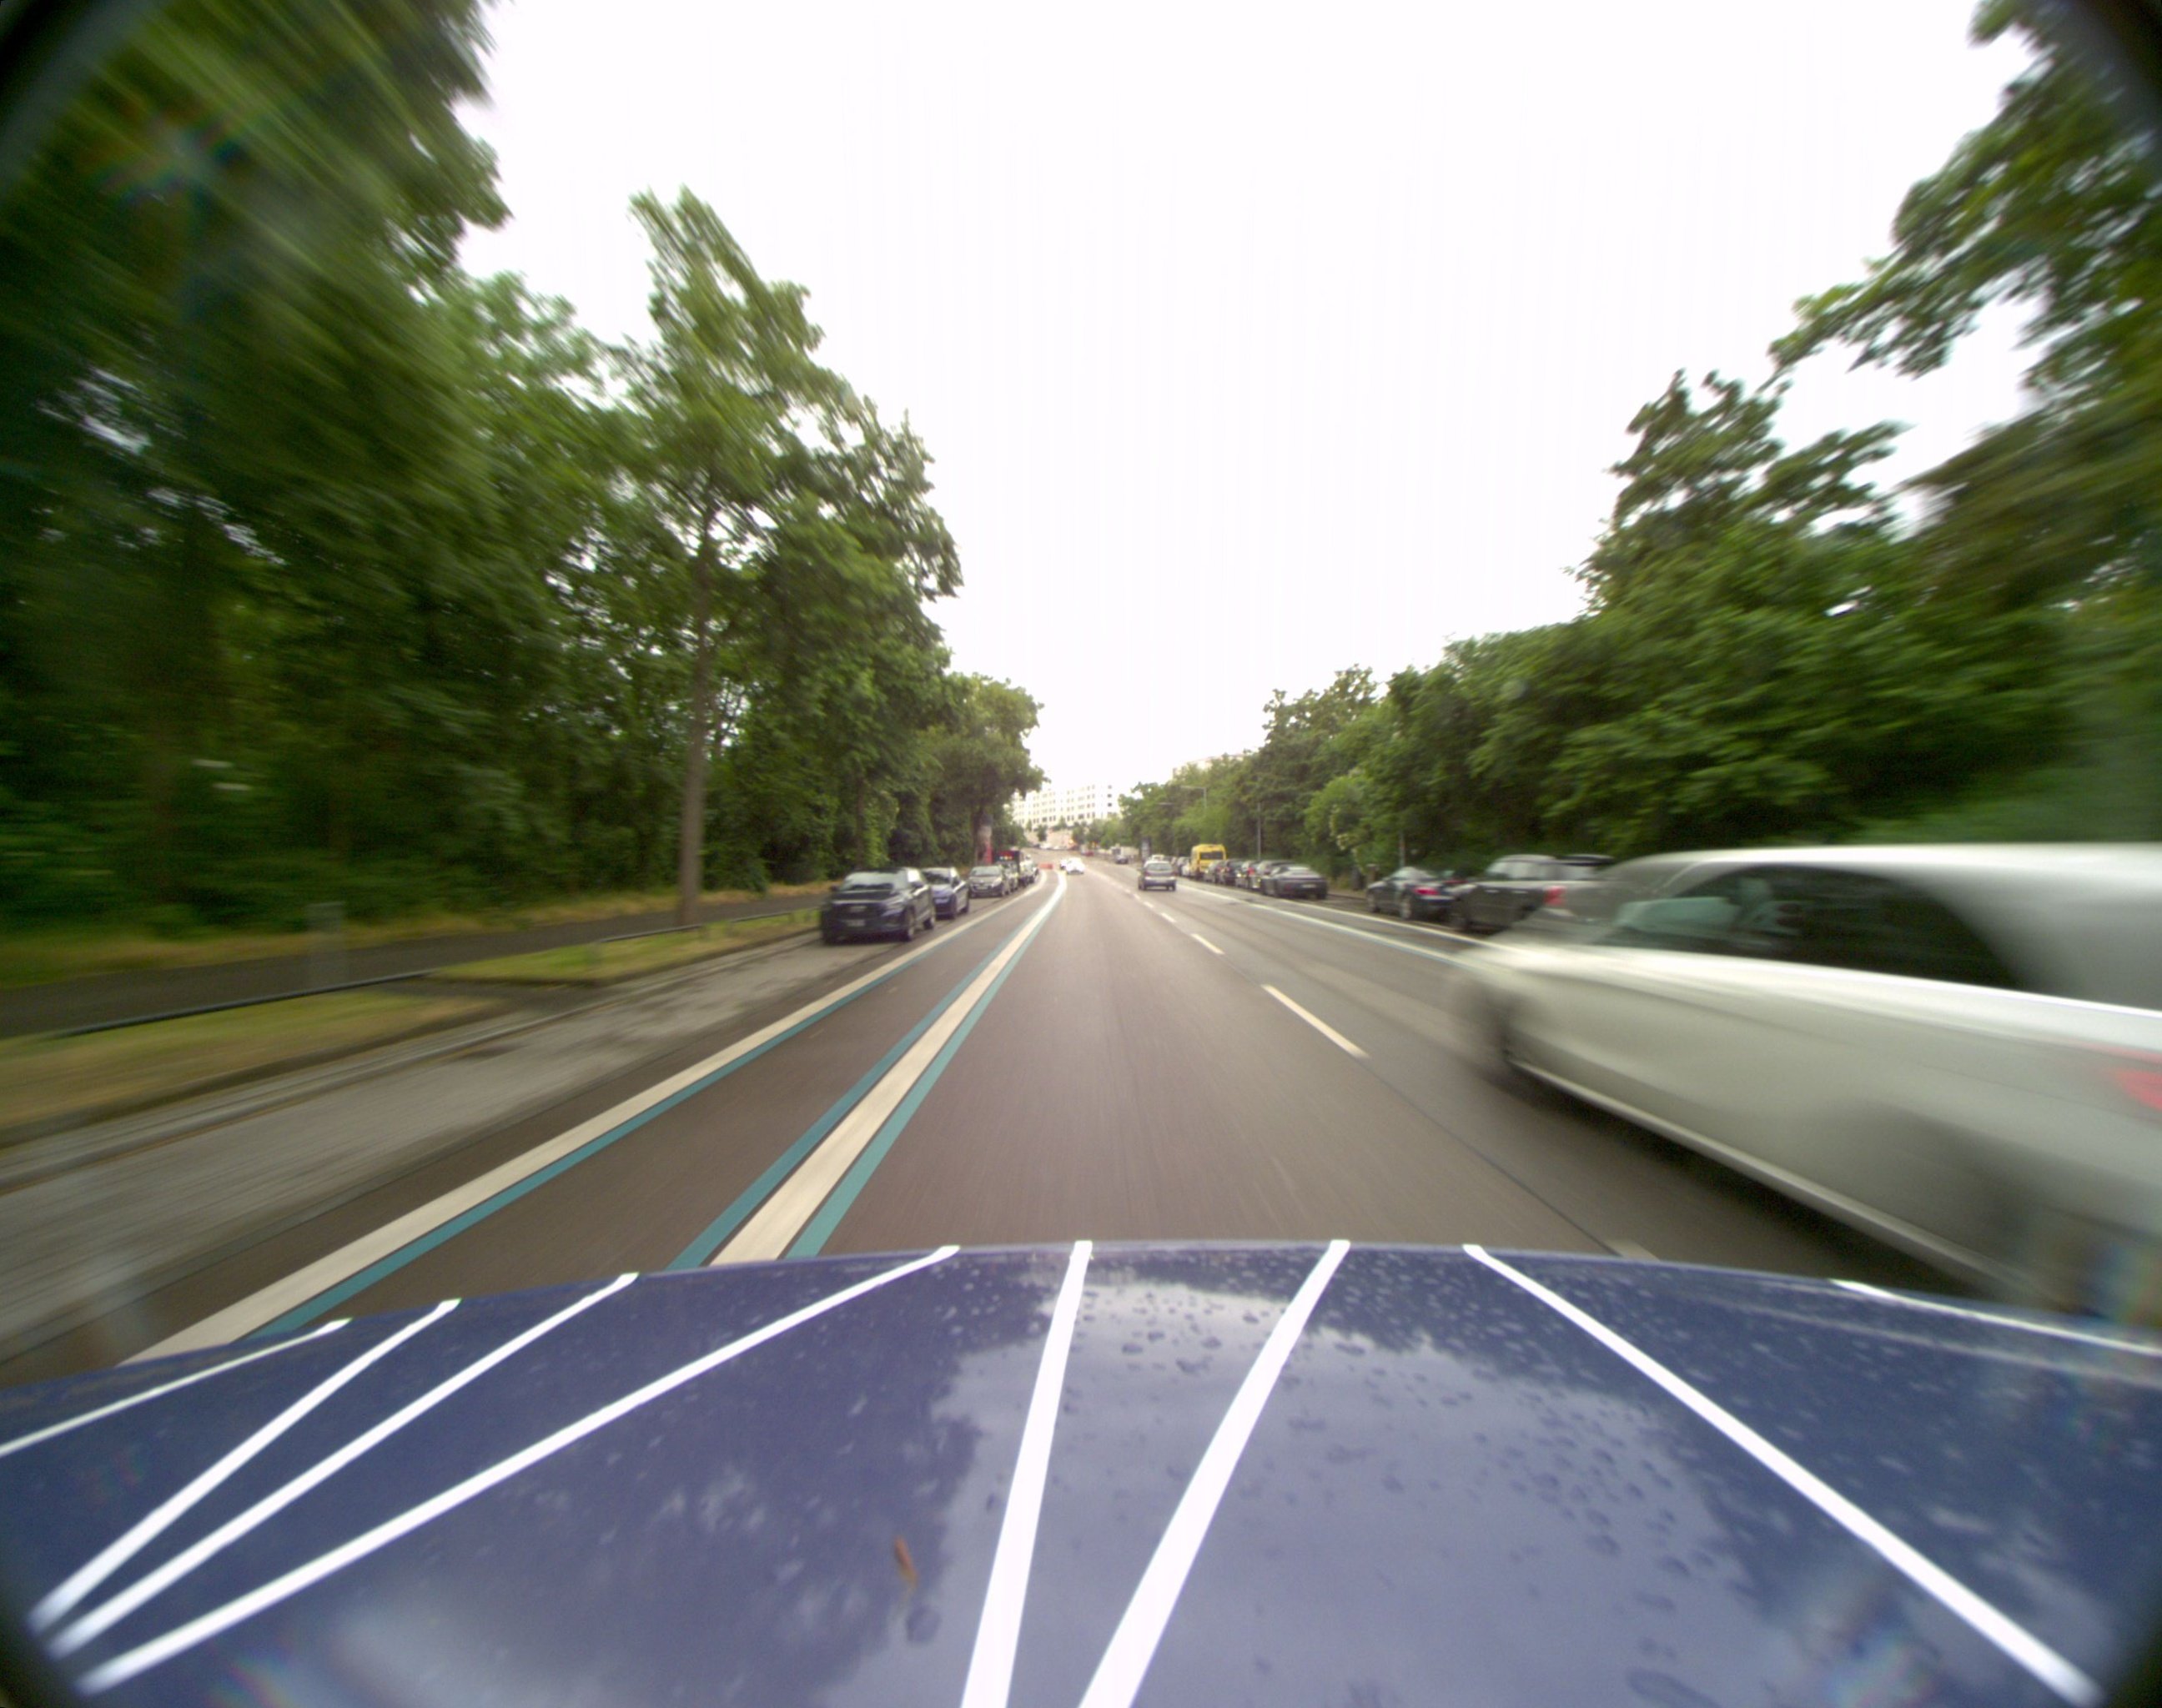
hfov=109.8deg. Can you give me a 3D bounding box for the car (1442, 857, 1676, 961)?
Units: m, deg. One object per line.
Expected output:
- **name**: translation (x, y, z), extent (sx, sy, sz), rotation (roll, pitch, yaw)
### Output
- **car**: translation (8.358, 0.863, 13.776), extent (1.819, 1.579, 3.992), rotation (-1, 0, 2)

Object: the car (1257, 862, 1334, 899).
- **car**: translation (8.275, 0.993, 29.661), extent (1.825, 1.285, 4.206), rotation (-1, 0, 1)

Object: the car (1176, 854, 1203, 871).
- **car**: translation (9.445, 0.737, 66.368), extent (1.825, 1.427, 3.559), rotation (-1, 0, 1)

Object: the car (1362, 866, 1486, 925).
- **car**: translation (8.462, 0.972, 19.087), extent (1.513, 1.285, 3.597), rotation (-1, 0, 1)

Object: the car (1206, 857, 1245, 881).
- **car**: translation (9.271, 0.934, 48.986), extent (1.825, 1.427, 3.559), rotation (-1, 0, 1)

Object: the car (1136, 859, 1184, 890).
- **car**: translation (3.911, 0.988, 38.393), extent (1.805, 1.394, 3.999), rotation (-1, 0, -3)

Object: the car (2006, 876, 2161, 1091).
- **car**: translation (8.565, 0.912, 3.971), extent (1.901, 1.466, 4.553), rotation (-1, 0, 0)

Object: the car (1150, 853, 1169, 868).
- **car**: translation (9.373, 0.772, 91.023), extent (1.825, 1.650, 3.558), rotation (-1, 0, 1)

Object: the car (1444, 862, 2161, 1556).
- **car**: translation (3.438, 0.849, 3.247), extent (1.790, 1.570, 4.258), rotation (0, 0, 1)

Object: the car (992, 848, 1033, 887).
- **car**: translation (-4.147, 0.767, 46.668), extent (1.998, 2.231, 4.000), rotation (-2, 1, 1)

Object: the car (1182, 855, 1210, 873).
- **car**: translation (9.371, 0.779, 62.109), extent (1.825, 1.427, 3.559), rotation (-1, 0, 1)

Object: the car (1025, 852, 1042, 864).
- **car**: translation (-6.051, 0.485, 96.545), extent (1.862, 1.361, 4.000), rotation (-1, 0, 1)

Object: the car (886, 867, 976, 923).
- **car**: translation (-4.246, 1.135, 22.159), extent (1.804, 1.370, 4.000), rotation (-1, 0, 0)

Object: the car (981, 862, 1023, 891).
- **car**: translation (-4.182, 1.171, 40.653), extent (1.804, 1.394, 4.000), rotation (-1, 0, 0)

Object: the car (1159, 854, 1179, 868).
- **car**: translation (9.664, 0.734, 83.393), extent (1.825, 1.427, 3.559), rotation (-1, 0, 1)

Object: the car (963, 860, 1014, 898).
- **car**: translation (-4.173, 1.089, 34.785), extent (1.804, 1.589, 4.000), rotation (-1, 0, 0)

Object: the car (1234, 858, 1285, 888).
- **car**: translation (9.190, 0.956, 39.387), extent (1.825, 1.427, 3.773), rotation (-1, 0, 1)

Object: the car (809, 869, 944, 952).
- **car**: translation (-4.221, 1.100, 16.355), extent (1.804, 1.455, 4.000), rotation (-1, 0, 0)

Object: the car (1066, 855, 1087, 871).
- **car**: translation (-0.452, 0.904, 77.504), extent (1.998, 1.589, 4.000), rotation (-2, 0, 1)

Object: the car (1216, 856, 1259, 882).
- **car**: translation (9.237, 0.851, 45.115), extent (1.825, 1.470, 3.559), rotation (-1, 0, 1)

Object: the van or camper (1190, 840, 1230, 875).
- **van or camper**: translation (9.321, 0.245, 55.188), extent (2.165, 2.437, 4.436), rotation (-1, 0, 1)

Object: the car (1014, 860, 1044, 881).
- **car**: translation (-3.847, 1.184, 56.484), extent (1.862, 1.361, 4.000), rotation (-2, 1, 1)

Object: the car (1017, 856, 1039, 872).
- **car**: translation (-5.150, 0.944, 74.304), extent (1.862, 1.361, 4.000), rotation (-2, 1, 1)

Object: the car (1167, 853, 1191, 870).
- **car**: translation (9.287, 0.665, 72.076), extent (1.825, 1.514, 3.559), rotation (-1, 0, 1)

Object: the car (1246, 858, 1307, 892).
- **car**: translation (8.763, 0.910, 34.376), extent (1.825, 1.427, 3.773), rotation (-1, 0, 1)

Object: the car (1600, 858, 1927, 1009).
- **car**: translation (8.250, 0.857, 9.526), extent (1.527, 1.584, 2.860), rotation (0, 0, 0)

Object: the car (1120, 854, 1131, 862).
- **car**: translation (7.724, 0.689, 131.655), extent (1.825, 1.427, 3.558), rotation (0, 0, 1)
